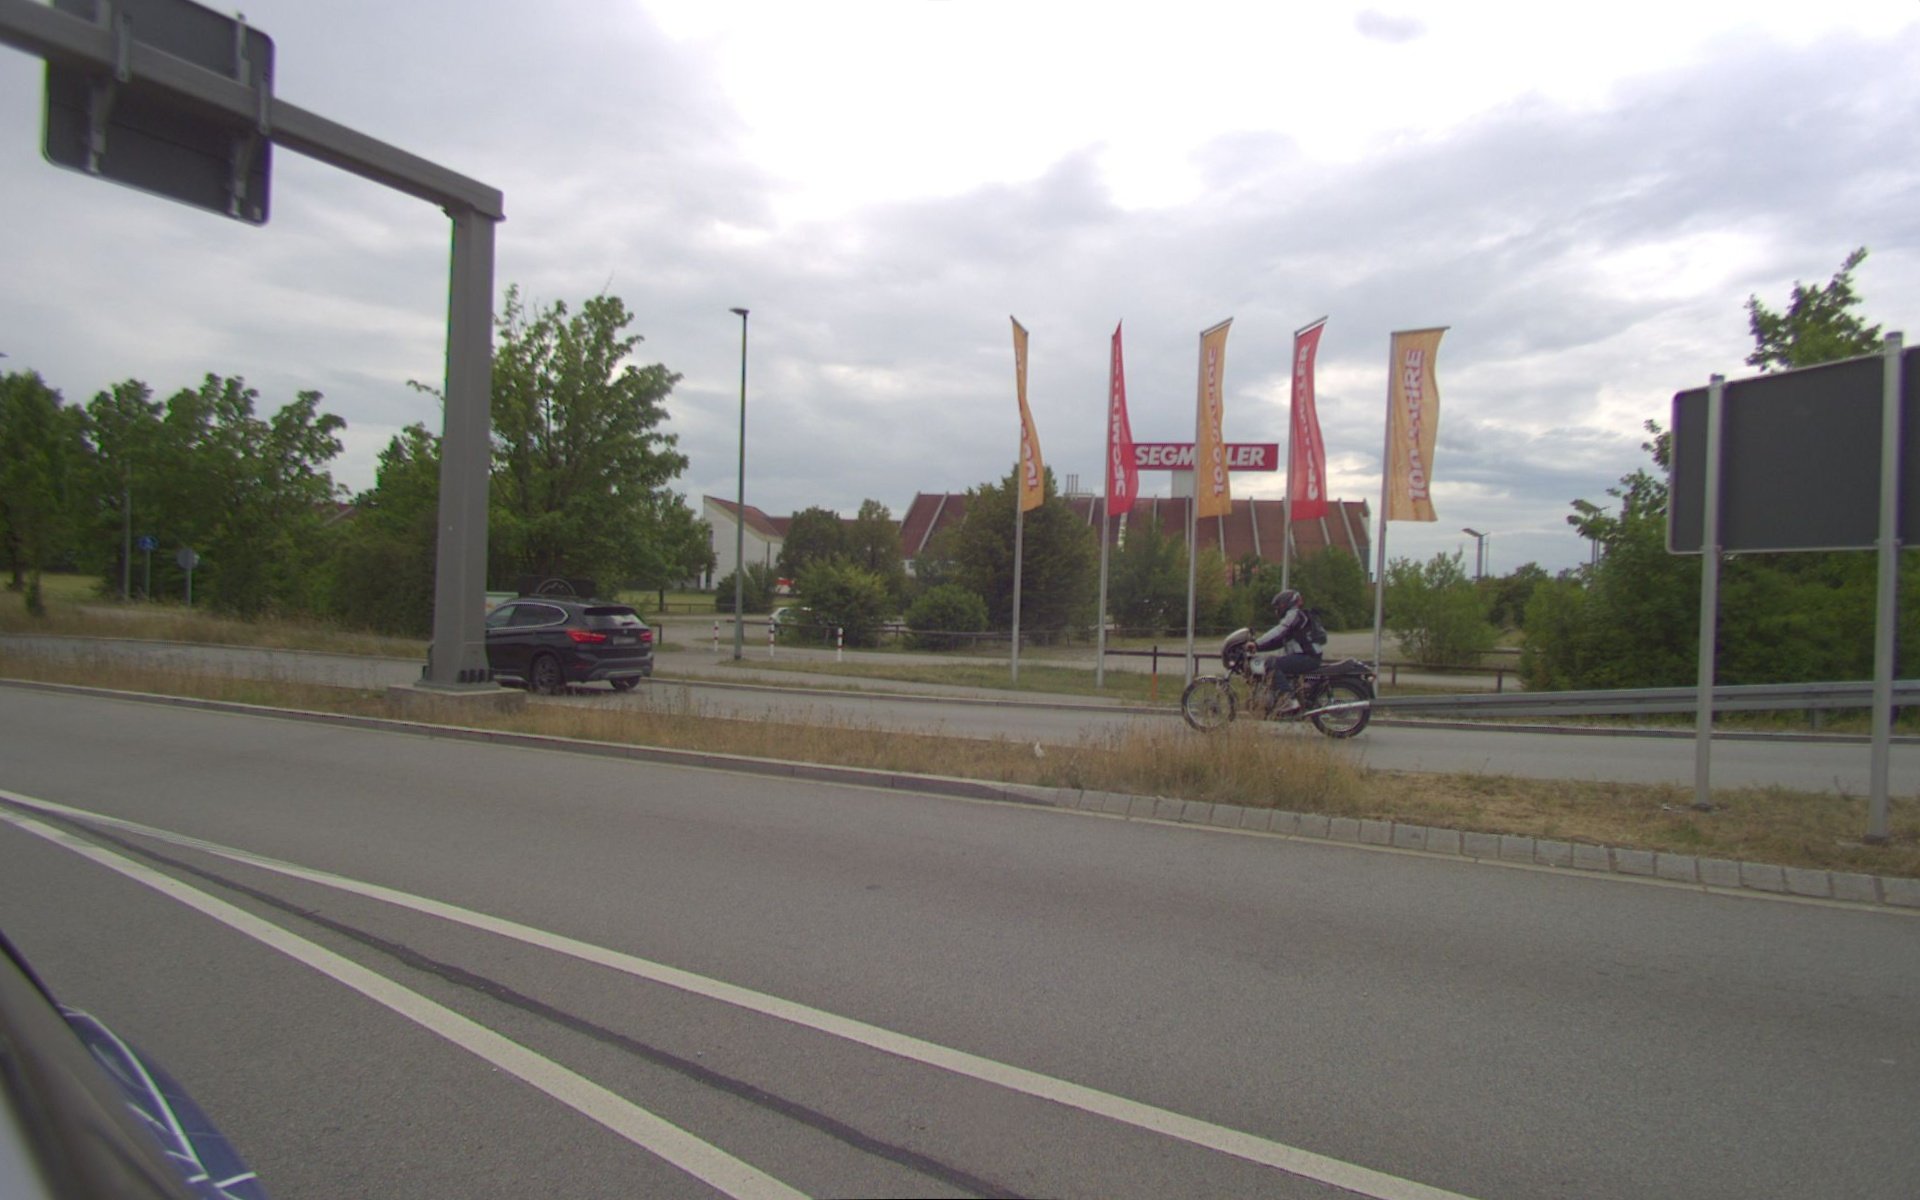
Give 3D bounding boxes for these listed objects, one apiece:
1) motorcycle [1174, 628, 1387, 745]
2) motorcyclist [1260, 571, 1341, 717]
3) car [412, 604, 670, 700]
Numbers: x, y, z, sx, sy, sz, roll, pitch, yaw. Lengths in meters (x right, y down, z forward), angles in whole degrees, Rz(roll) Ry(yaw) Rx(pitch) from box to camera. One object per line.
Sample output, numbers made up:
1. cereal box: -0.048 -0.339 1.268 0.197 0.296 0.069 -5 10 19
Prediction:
1. motorcycle: 3.627 0.950 11.549 2.232 1.239 0.699 -1 -2 20
2. motorcyclist: 3.861 0.493 11.484 0.840 1.588 0.670 -1 -2 19
3. car: -7.282 0.841 17.538 4.262 1.478 1.874 0 -2 29
